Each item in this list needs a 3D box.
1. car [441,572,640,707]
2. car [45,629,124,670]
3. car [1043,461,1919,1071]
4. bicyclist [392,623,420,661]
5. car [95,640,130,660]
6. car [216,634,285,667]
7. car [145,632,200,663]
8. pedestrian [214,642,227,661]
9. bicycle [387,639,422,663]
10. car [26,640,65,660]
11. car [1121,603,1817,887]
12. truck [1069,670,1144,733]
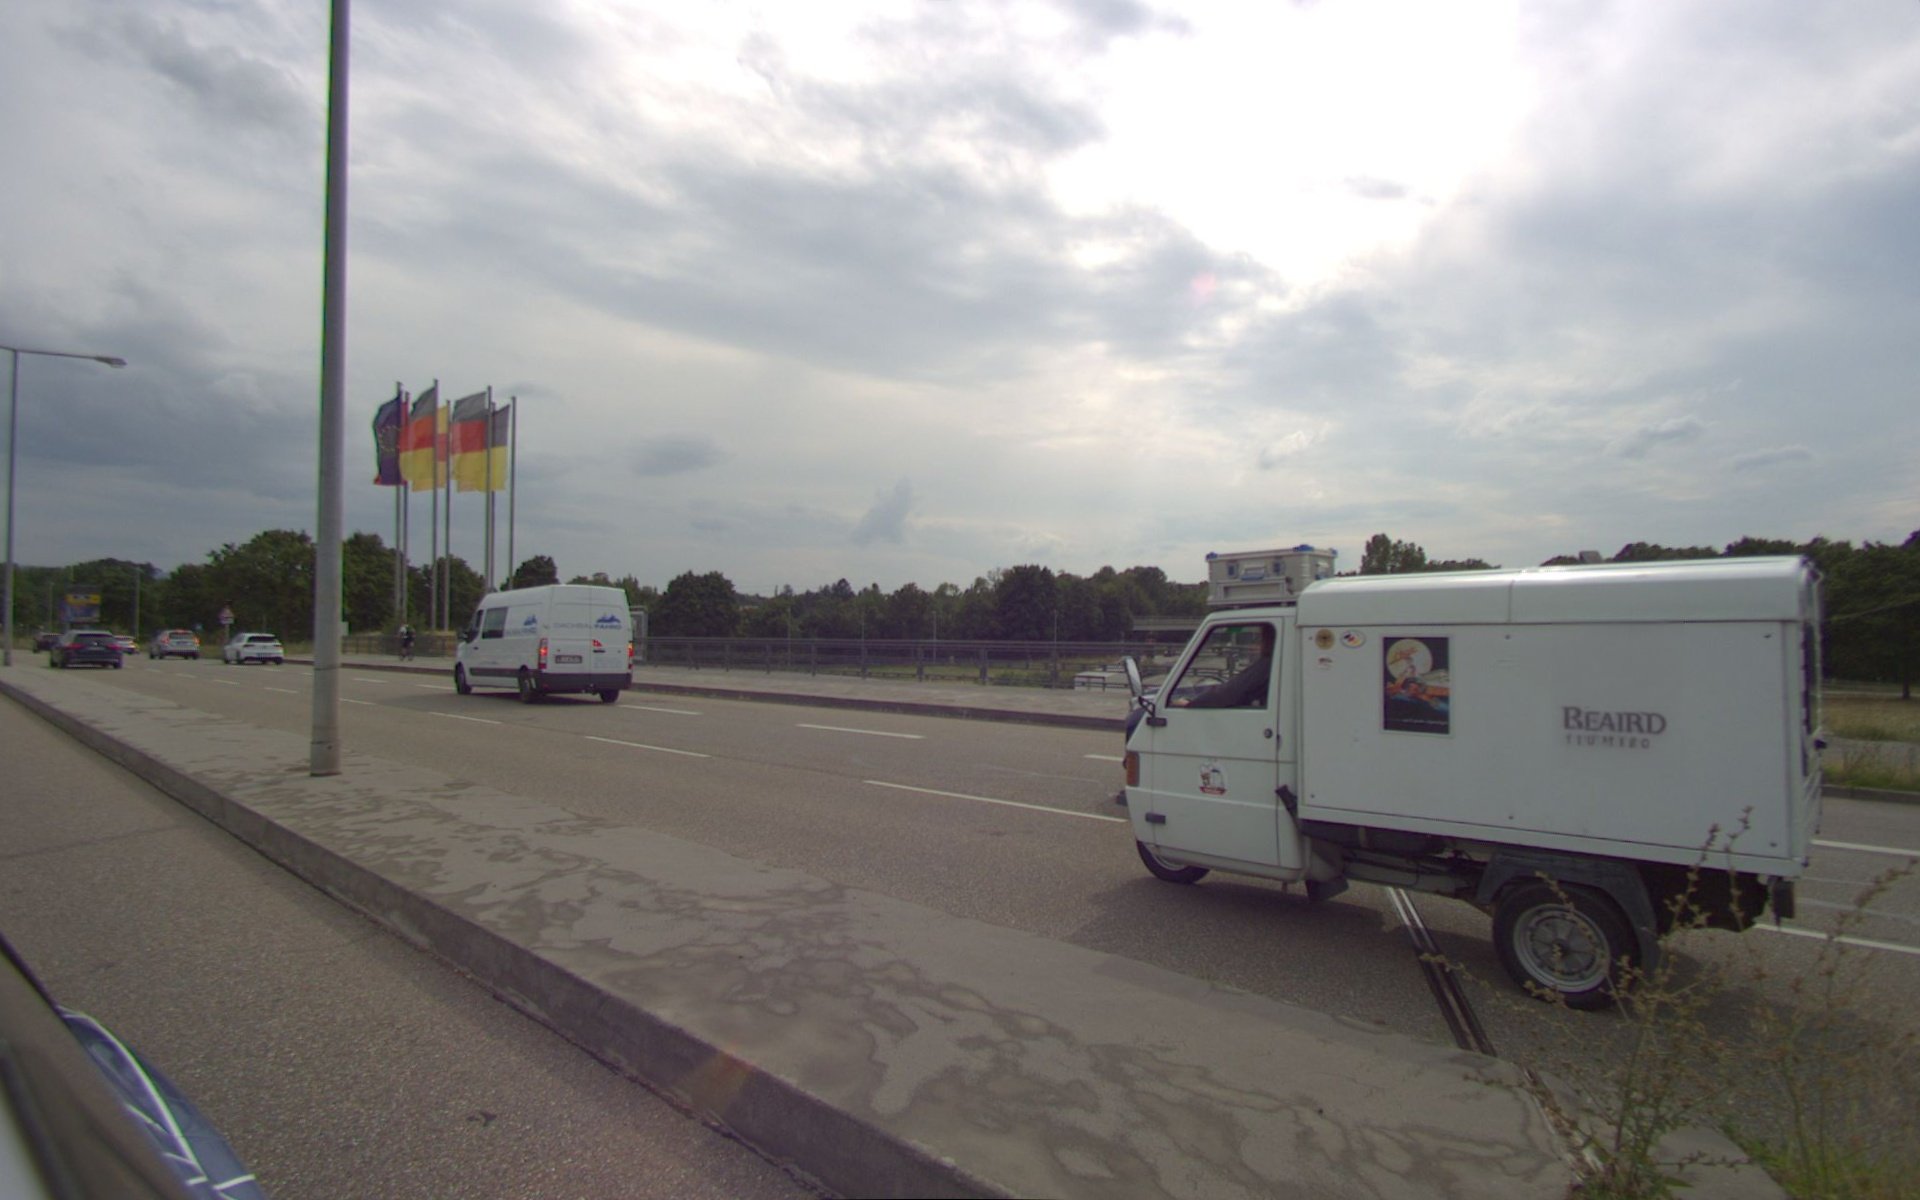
[{"bbox_3d":[-9.746,0.910,23.133,2.028,2.663,6.406,4,-4,-43],"label":"car"},{"bbox_3d":[-33.495,1.883,38.683,4.776,1.492,1.719,-2,-4,43],"label":"car"},{"bbox_3d":[2.271,0.584,4.891,3.571,1.885,1.522,-2,-4,44],"label":"car"},{"bbox_3d":[-24.935,1.887,45.569,0.976,1.639,0.787,-2,-1,40],"label":"bicyclist"},{"bbox_3d":[-66.280,3.910,79.118,4.017,1.527,1.631,-3,-5,44],"label":"car"},{"bbox_3d":[-33.560,2.361,47.841,4.471,1.492,1.719,-2,-4,43],"label":"car"},{"bbox_3d":[-46.147,2.787,59.256,4.771,1.738,1.842,-2,-4,44],"label":"car"},{"bbox_3d":[-67.075,4.649,91.765,0.853,1.706,0.681,2,-4,-30],"label":"pedestrian"},{"bbox_3d":[-25.107,2.302,45.742,2.058,1.057,0.699,-1,-1,41],"label":"bicycle"},{"bbox_3d":[-71.854,3.906,79.526,4.313,1.527,1.721,-1,-4,41],"label":"car"},{"bbox_3d":[3.659,0.912,7.958,4.587,1.597,1.727,-2,-4,44],"label":"car"},{"bbox_3d":[12.717,8.465,86.616,3.010,4.376,13.898,0,-1,23],"label":"truck"}]
